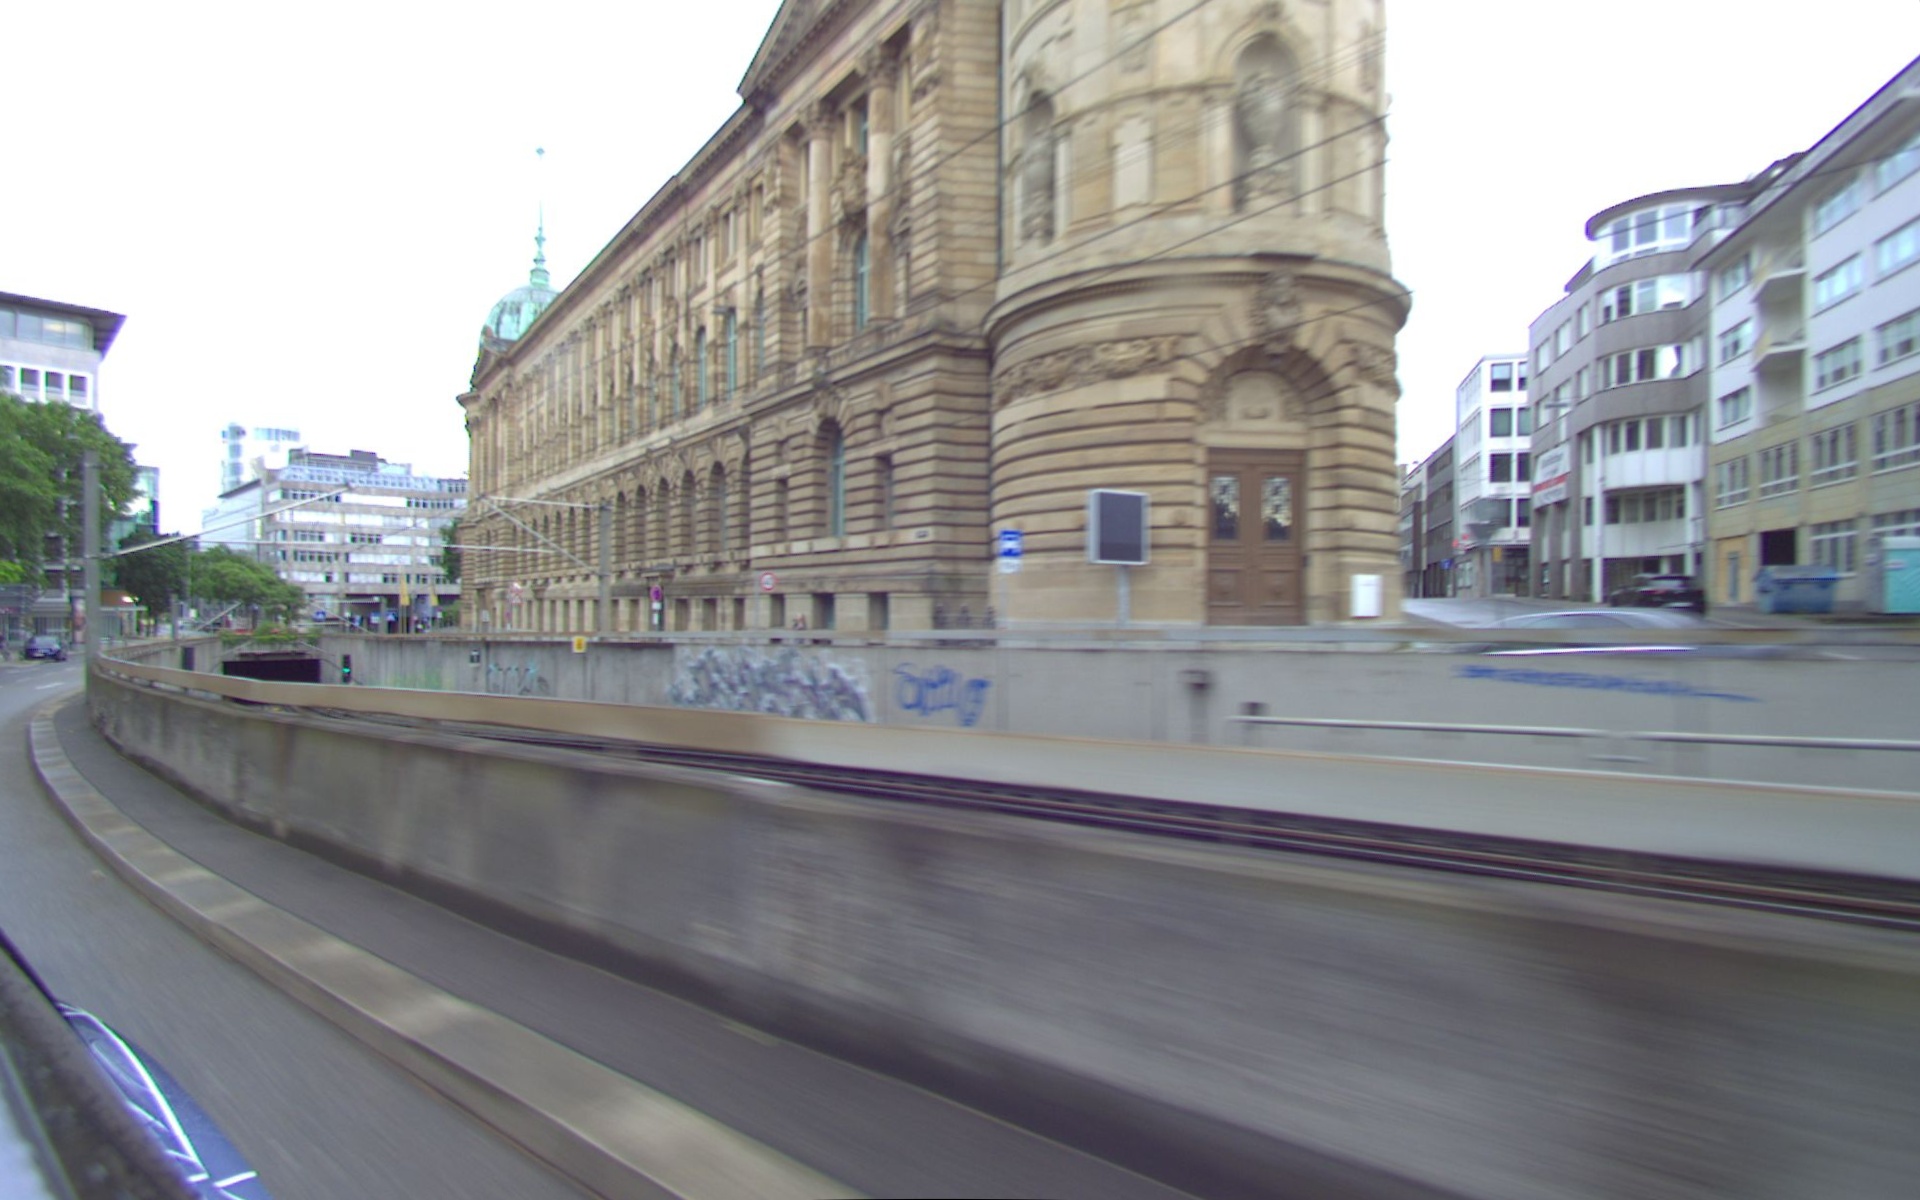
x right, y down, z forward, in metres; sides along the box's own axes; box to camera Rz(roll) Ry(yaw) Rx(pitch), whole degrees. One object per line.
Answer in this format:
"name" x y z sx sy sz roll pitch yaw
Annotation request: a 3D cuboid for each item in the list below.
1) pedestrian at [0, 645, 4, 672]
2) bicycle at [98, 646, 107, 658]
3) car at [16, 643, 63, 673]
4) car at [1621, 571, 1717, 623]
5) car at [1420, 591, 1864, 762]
"pedestrian" -63.362 3.839 66.458 0.769 1.785 0.864 1 -2 -38
"bicycle" -72.085 4.369 85.036 0.482 1.020 1.932 0 -1 -37
"car" -55.502 3.478 61.079 1.745 1.631 4.166 0 -1 -37
"car" 23.088 -0.043 33.113 1.990 1.431 3.963 -1 -4 27
"car" 7.407 0.747 11.244 1.969 1.539 3.668 -1 -1 -40
